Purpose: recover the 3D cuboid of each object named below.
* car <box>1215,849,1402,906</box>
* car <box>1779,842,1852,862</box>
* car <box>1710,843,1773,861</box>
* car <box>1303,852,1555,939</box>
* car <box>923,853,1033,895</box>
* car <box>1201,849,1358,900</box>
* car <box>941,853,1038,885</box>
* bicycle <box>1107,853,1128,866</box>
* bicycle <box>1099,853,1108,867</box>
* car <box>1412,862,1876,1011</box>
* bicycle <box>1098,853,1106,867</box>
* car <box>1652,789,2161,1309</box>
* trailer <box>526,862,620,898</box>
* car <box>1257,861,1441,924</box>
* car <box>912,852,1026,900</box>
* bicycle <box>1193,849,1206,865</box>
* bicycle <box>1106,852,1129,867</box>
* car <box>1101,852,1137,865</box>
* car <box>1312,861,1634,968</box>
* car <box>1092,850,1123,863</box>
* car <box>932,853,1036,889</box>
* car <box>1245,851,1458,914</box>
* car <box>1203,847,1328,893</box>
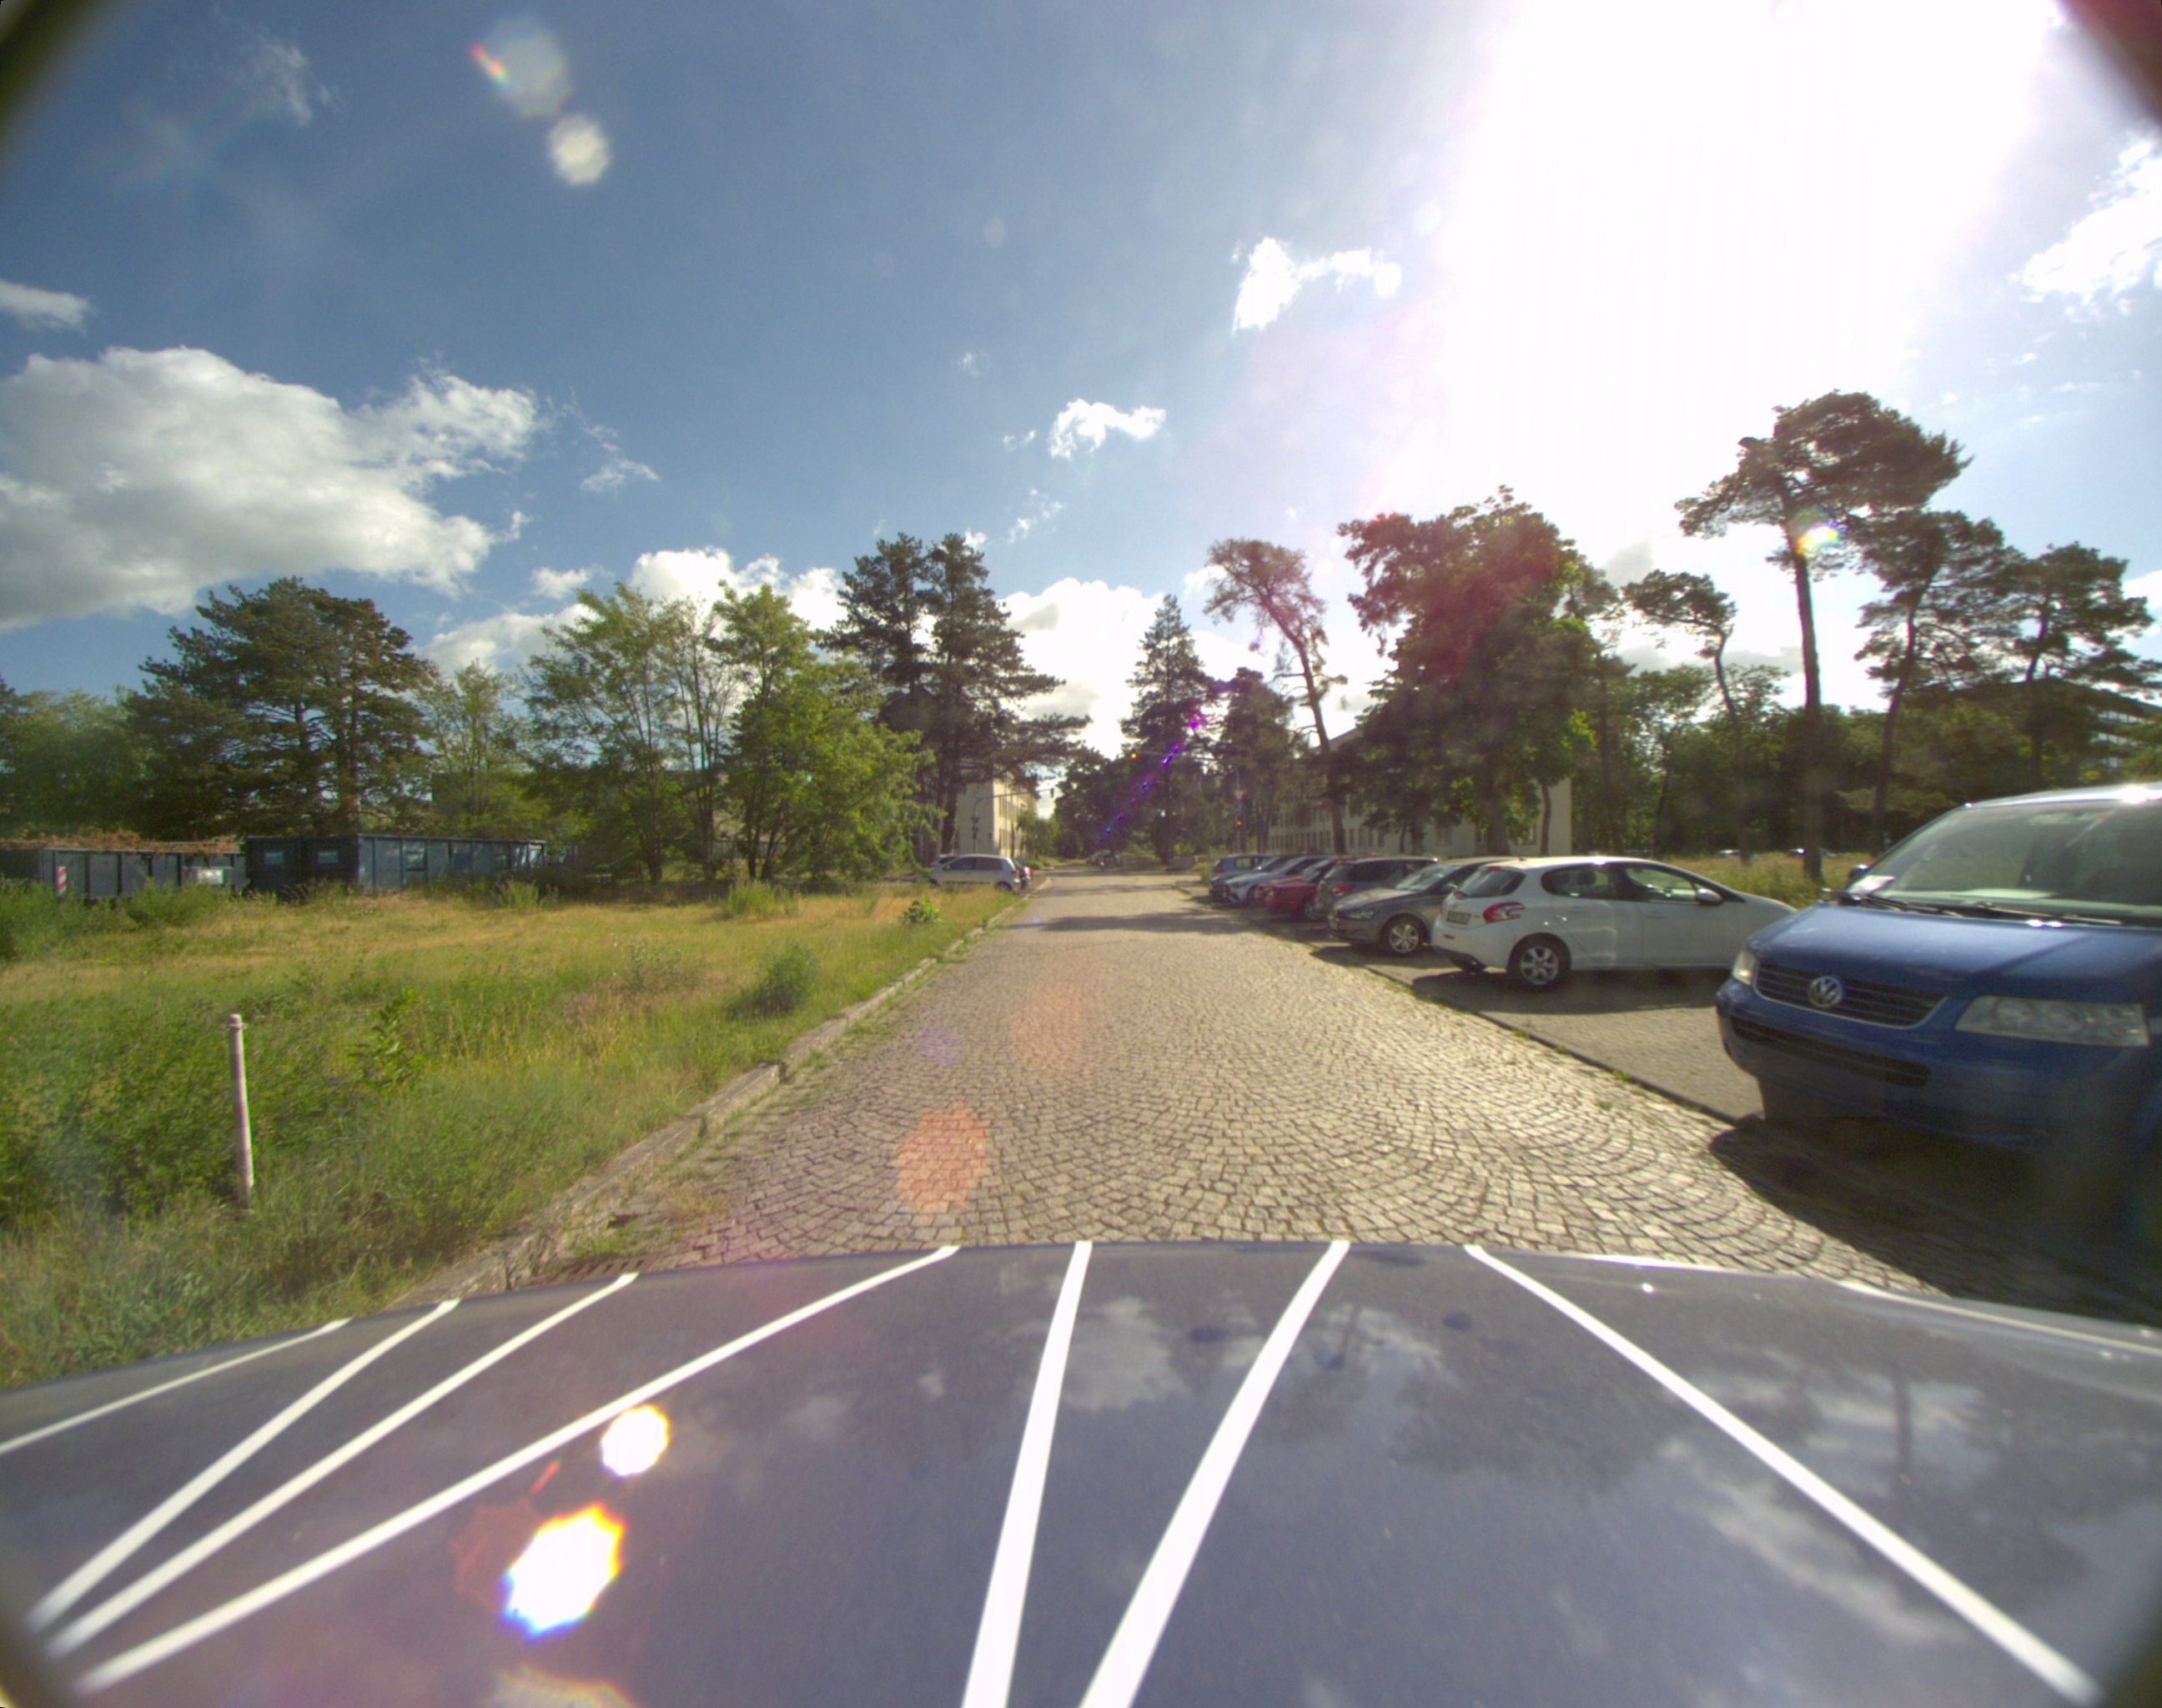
[{"bbox_3d":[6.535,0.661,22.229,4.876,1.413,1.938,-2,1,1],"label":"car"},{"bbox_3d":[59.451,-0.181,61.563,4.056,1.620,1.841,0,1,3],"label":"car"},{"bbox_3d":[60.090,-0.193,69.150,4.105,1.571,1.720,0,1,2],"label":"car"},{"bbox_3d":[6.669,0.763,14.905,4.086,1.444,1.821,-2,2,2],"label":"car"},{"bbox_3d":[-3.930,0.757,29.542,4.015,1.433,1.844,2,0,-1],"label":"car"},{"bbox_3d":[6.431,0.645,24.952,4.593,1.443,1.983,-2,1,-3],"label":"car"},{"bbox_3d":[-4.472,0.726,37.594,4.548,1.413,1.894,2,1,0],"label":"car"},{"bbox_3d":[3.816,0.586,79.472,2.114,1.276,0.621,-2,1,-5],"label":"bicycle"},{"bbox_3d":[2.196,0.558,73.064,0.621,1.342,2.114,-2,1,-4],"label":"bicycle"},{"bbox_3d":[6.494,0.905,9.143,4.206,1.466,1.824,-2,0,1],"label":"car"},{"bbox_3d":[2.061,0.580,75.241,0.621,1.276,2.114,-2,1,-4],"label":"bicycle"},{"bbox_3d":[6.027,0.651,3.839,4.729,1.956,2.005,-2,1,1],"label":"car"},{"bbox_3d":[-17.201,0.878,25.784,2.405,1.099,1.035,-2,1,-3],"label":"trailer"},{"bbox_3d":[6.094,0.854,17.584,3.639,1.227,1.759,-2,1,2],"label":"car"},{"bbox_3d":[-3.883,0.743,26.796,3.750,1.468,1.751,2,1,-1],"label":"car"},{"bbox_3d":[9.926,0.252,63.765,0.621,1.276,2.114,-4,0,-1],"label":"bicycle"},{"bbox_3d":[3.674,0.571,76.393,2.114,1.276,0.621,-6,1,-2],"label":"bicycle"},{"bbox_3d":[4.523,0.565,91.241,4.044,1.514,1.816,0,1,-7],"label":"car"},{"bbox_3d":[5.990,0.900,12.032,4.086,1.417,1.923,-2,0,2],"label":"car"},{"bbox_3d":[3.751,0.326,108.601,4.227,1.903,1.816,0,1,-9],"label":"car"},{"bbox_3d":[-4.389,0.742,34.779,4.525,1.456,1.838,2,1,-2],"label":"car"},{"bbox_3d":[6.941,0.698,19.883,4.876,1.412,1.938,-2,1,1],"label":"car"},{"bbox_3d":[6.623,0.559,27.572,4.037,1.474,1.949,-2,0,-1],"label":"car"}]
